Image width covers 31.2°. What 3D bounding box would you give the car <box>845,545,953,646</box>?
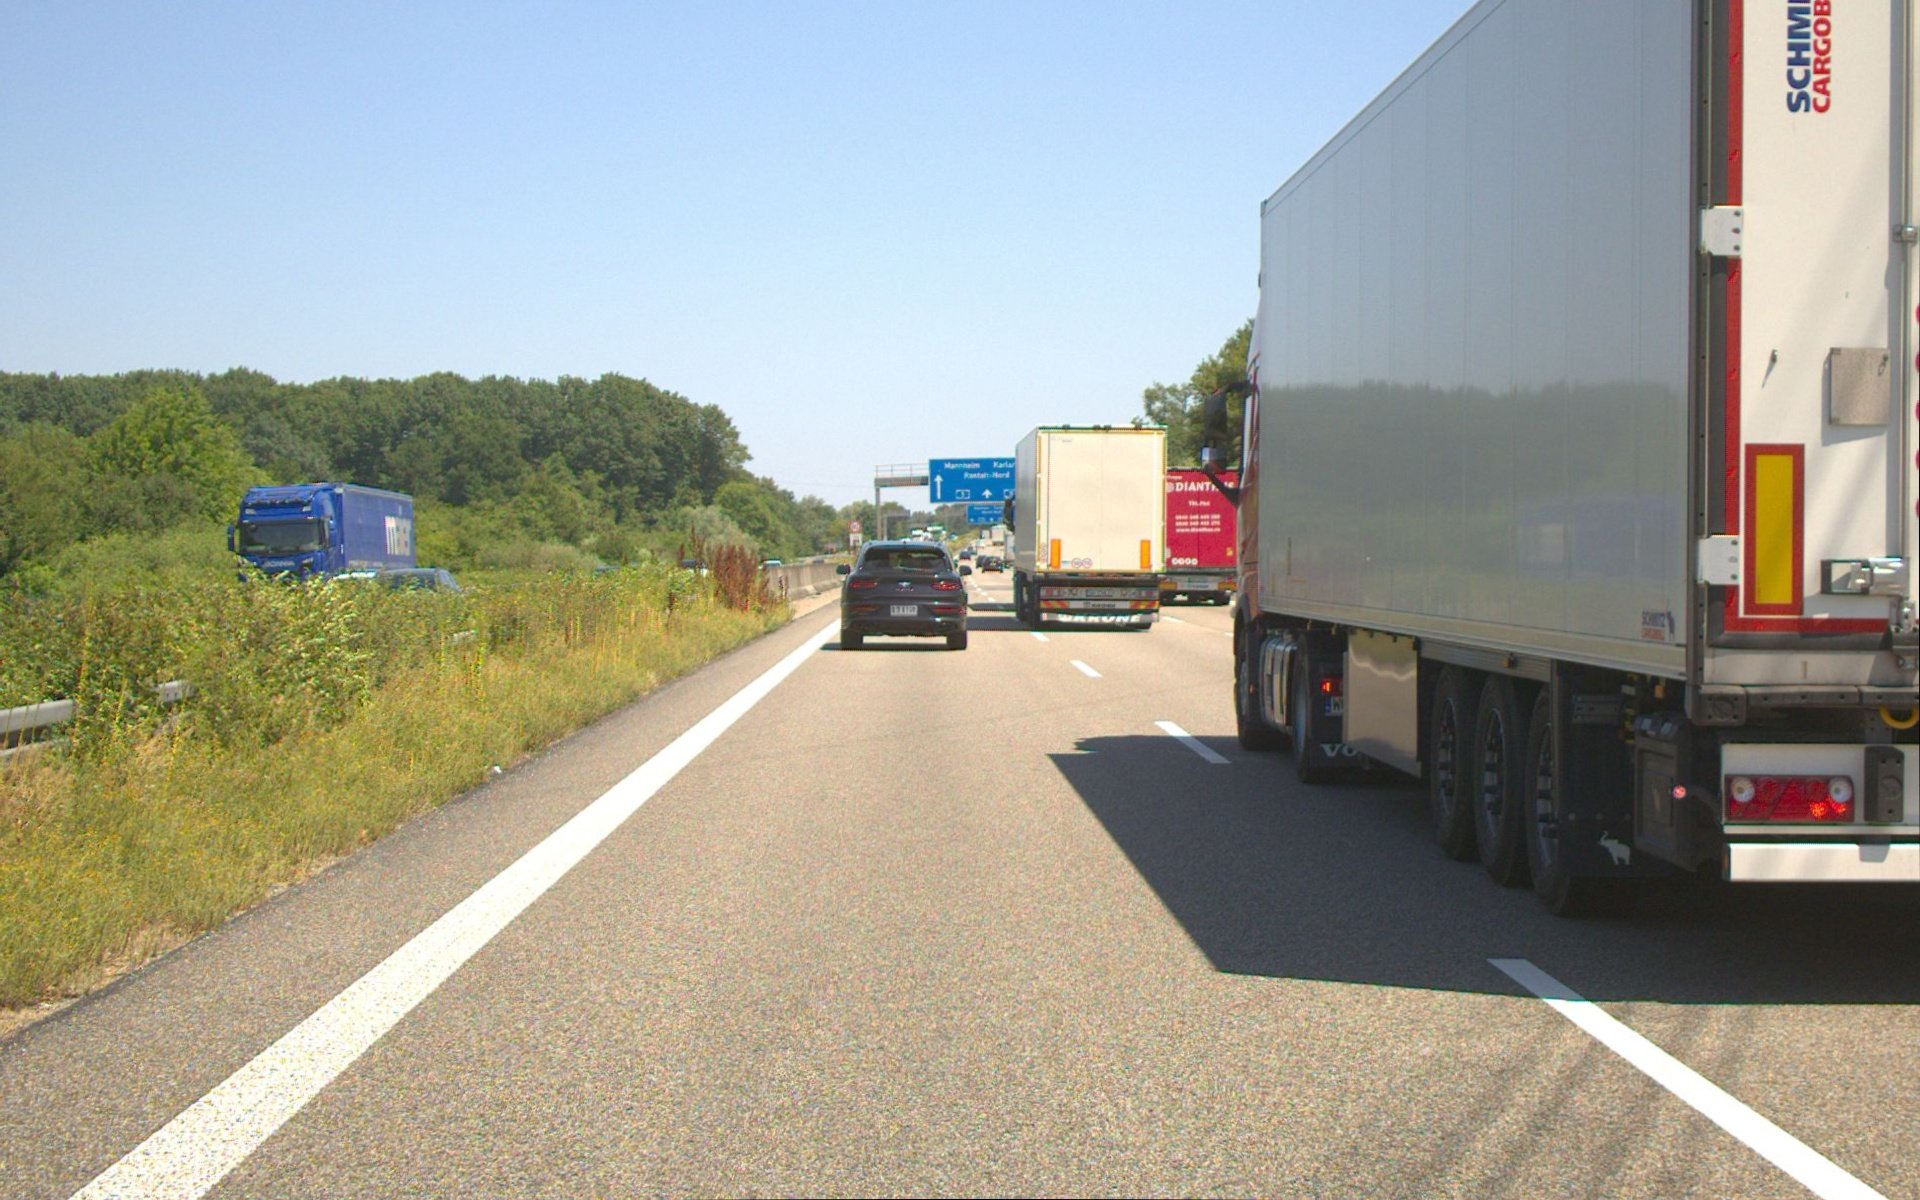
[{"bbox_3d":[-0.959,-0.097,54.897,1.660,1.544,3.783,0,1,-1],"label":"car"}]

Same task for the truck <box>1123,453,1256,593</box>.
[{"bbox_3d":[7.069,-2.336,107.769,3.055,4.092,13.219,1,1,-1],"label":"truck"}]

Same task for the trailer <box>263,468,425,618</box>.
[{"bbox_3d":[-18.382,-1.700,103.461,2.472,4.117,13.467,-3,1,-1],"label":"trailer"}]

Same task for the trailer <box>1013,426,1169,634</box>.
[{"bbox_3d":[2.646,-1.447,73.036,2.795,4.021,12.568,0,1,0],"label":"trailer"}]

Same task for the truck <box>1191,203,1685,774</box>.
[{"bbox_3d":[3.566,-0.817,27.233,2.941,3.972,6.102,1,1,-1],"label":"truck"}]

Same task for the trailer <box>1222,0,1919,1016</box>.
[{"bbox_3d":[3.676,-0.730,19.270,2.937,4.004,16.201,1,1,-1],"label":"trailer"}]

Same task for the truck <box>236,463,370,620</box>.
[{"bbox_3d":[-18.252,-1.612,95.811,2.467,4.119,5.684,-3,1,0],"label":"truck"}]

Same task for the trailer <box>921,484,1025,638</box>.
[{"bbox_3d":[0.423,-1.072,98.696,2.708,4.054,14.746,1,0,1],"label":"trailer"}]

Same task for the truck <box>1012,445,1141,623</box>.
[{"bbox_3d":[2.668,-1.529,80.535,2.800,3.993,6.021,0,1,0],"label":"truck"}]
